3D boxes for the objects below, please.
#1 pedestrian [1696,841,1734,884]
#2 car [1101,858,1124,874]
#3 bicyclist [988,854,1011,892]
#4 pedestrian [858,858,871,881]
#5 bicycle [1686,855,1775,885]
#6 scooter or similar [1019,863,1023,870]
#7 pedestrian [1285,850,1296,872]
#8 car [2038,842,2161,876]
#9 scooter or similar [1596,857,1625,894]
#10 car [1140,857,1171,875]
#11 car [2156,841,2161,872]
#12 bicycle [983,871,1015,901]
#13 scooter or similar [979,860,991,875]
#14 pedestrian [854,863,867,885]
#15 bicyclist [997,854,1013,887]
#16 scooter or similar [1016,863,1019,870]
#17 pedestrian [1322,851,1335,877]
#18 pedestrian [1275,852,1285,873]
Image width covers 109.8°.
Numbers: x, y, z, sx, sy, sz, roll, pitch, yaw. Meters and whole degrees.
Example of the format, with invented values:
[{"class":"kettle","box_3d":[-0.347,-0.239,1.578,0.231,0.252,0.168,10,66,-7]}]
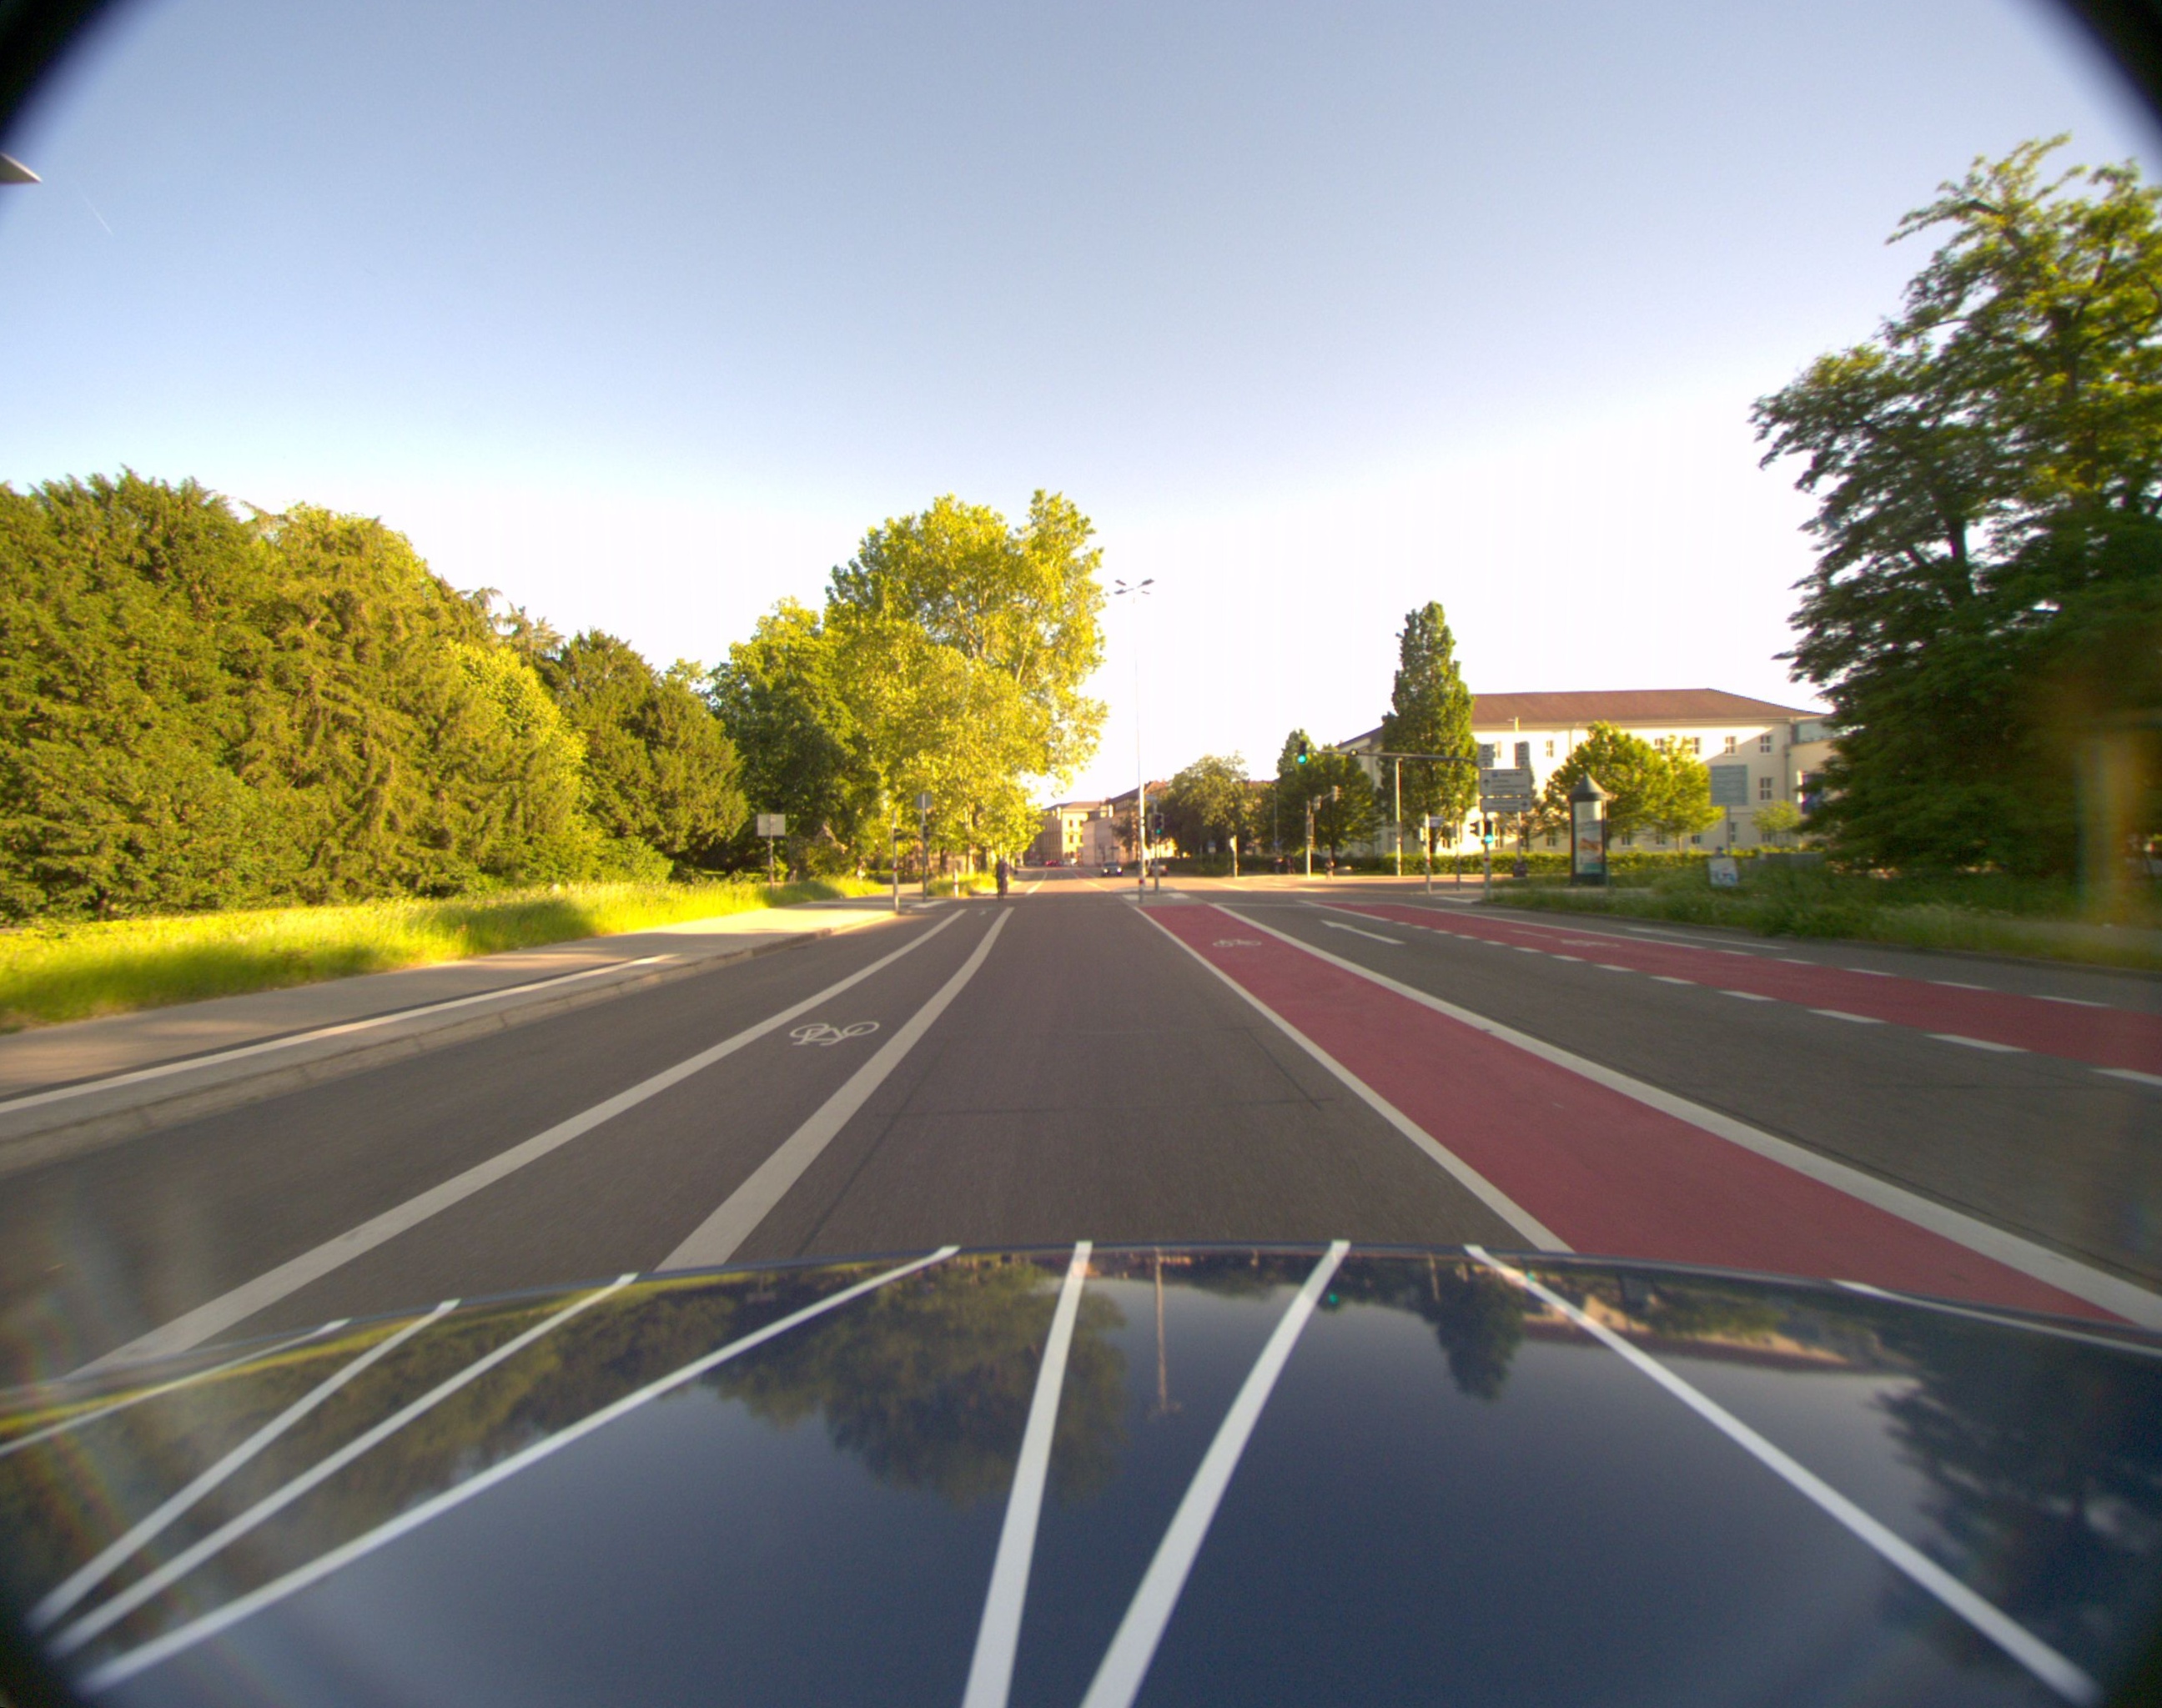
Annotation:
[{"class":"pedestrian","box_3d":[25.186,0.343,30.201,0.979,1.686,0.643,-1,1,4]},{"class":"car","box_3d":[2.846,1.078,68.920,1.722,1.409,4.526,-1,0,-2]},{"class":"bicyclist","box_3d":[-3.250,0.757,30.482,0.694,1.482,0.801,-1,0,10]},{"class":"pedestrian","box_3d":[-15.524,1.097,54.509,0.691,1.624,0.681,-1,0,7]},{"class":"bicycle","box_3d":[25.381,0.618,29.738,2.576,1.129,0.980,-1,0,3]},{"class":"scooter or similar","box_3d":[-9.679,2.026,123.055,0.416,1.035,1.778,-3,0,-1]},{"class":"pedestrian","box_3d":[17.011,0.555,61.734,0.691,1.805,0.681,-1,0,7]},{"class":"car","box_3d":[50.306,0.222,37.065,4.253,1.530,2.070,-1,0,7]},{"class":"scooter or similar","box_3d":[19.237,0.769,27.617,0.694,1.286,1.499,-1,0,28]},{"class":"car","box_3d":[6.346,1.002,65.130,1.716,1.413,4.552,-3,0,-7]},{"class":"car","box_3d":[55.887,0.085,36.726,4.253,1.530,2.238,-1,0,7]},{"class":"bicycle","box_3d":[-3.255,1.276,30.491,0.694,1.089,2.137,-1,0,10]},{"class":"scooter or similar","box_3d":[-8.570,1.188,67.783,0.794,1.248,1.836,3,0,-1]},{"class":"pedestrian","box_3d":[-15.769,1.458,54.382,0.691,1.537,0.681,-1,0,7]},{"class":"bicyclist","box_3d":[-3.560,0.769,35.588,0.695,1.492,0.892,-1,0,-4]},{"class":"scooter or similar","box_3d":[-10.077,1.946,120.614,0.416,1.035,1.778,-3,0,-1]},{"class":"pedestrian","box_3d":[17.199,0.670,52.780,0.744,1.805,0.727,-1,0,7]},{"class":"pedestrian","box_3d":[16.190,0.661,61.743,0.691,1.672,0.681,-1,1,7]}]
